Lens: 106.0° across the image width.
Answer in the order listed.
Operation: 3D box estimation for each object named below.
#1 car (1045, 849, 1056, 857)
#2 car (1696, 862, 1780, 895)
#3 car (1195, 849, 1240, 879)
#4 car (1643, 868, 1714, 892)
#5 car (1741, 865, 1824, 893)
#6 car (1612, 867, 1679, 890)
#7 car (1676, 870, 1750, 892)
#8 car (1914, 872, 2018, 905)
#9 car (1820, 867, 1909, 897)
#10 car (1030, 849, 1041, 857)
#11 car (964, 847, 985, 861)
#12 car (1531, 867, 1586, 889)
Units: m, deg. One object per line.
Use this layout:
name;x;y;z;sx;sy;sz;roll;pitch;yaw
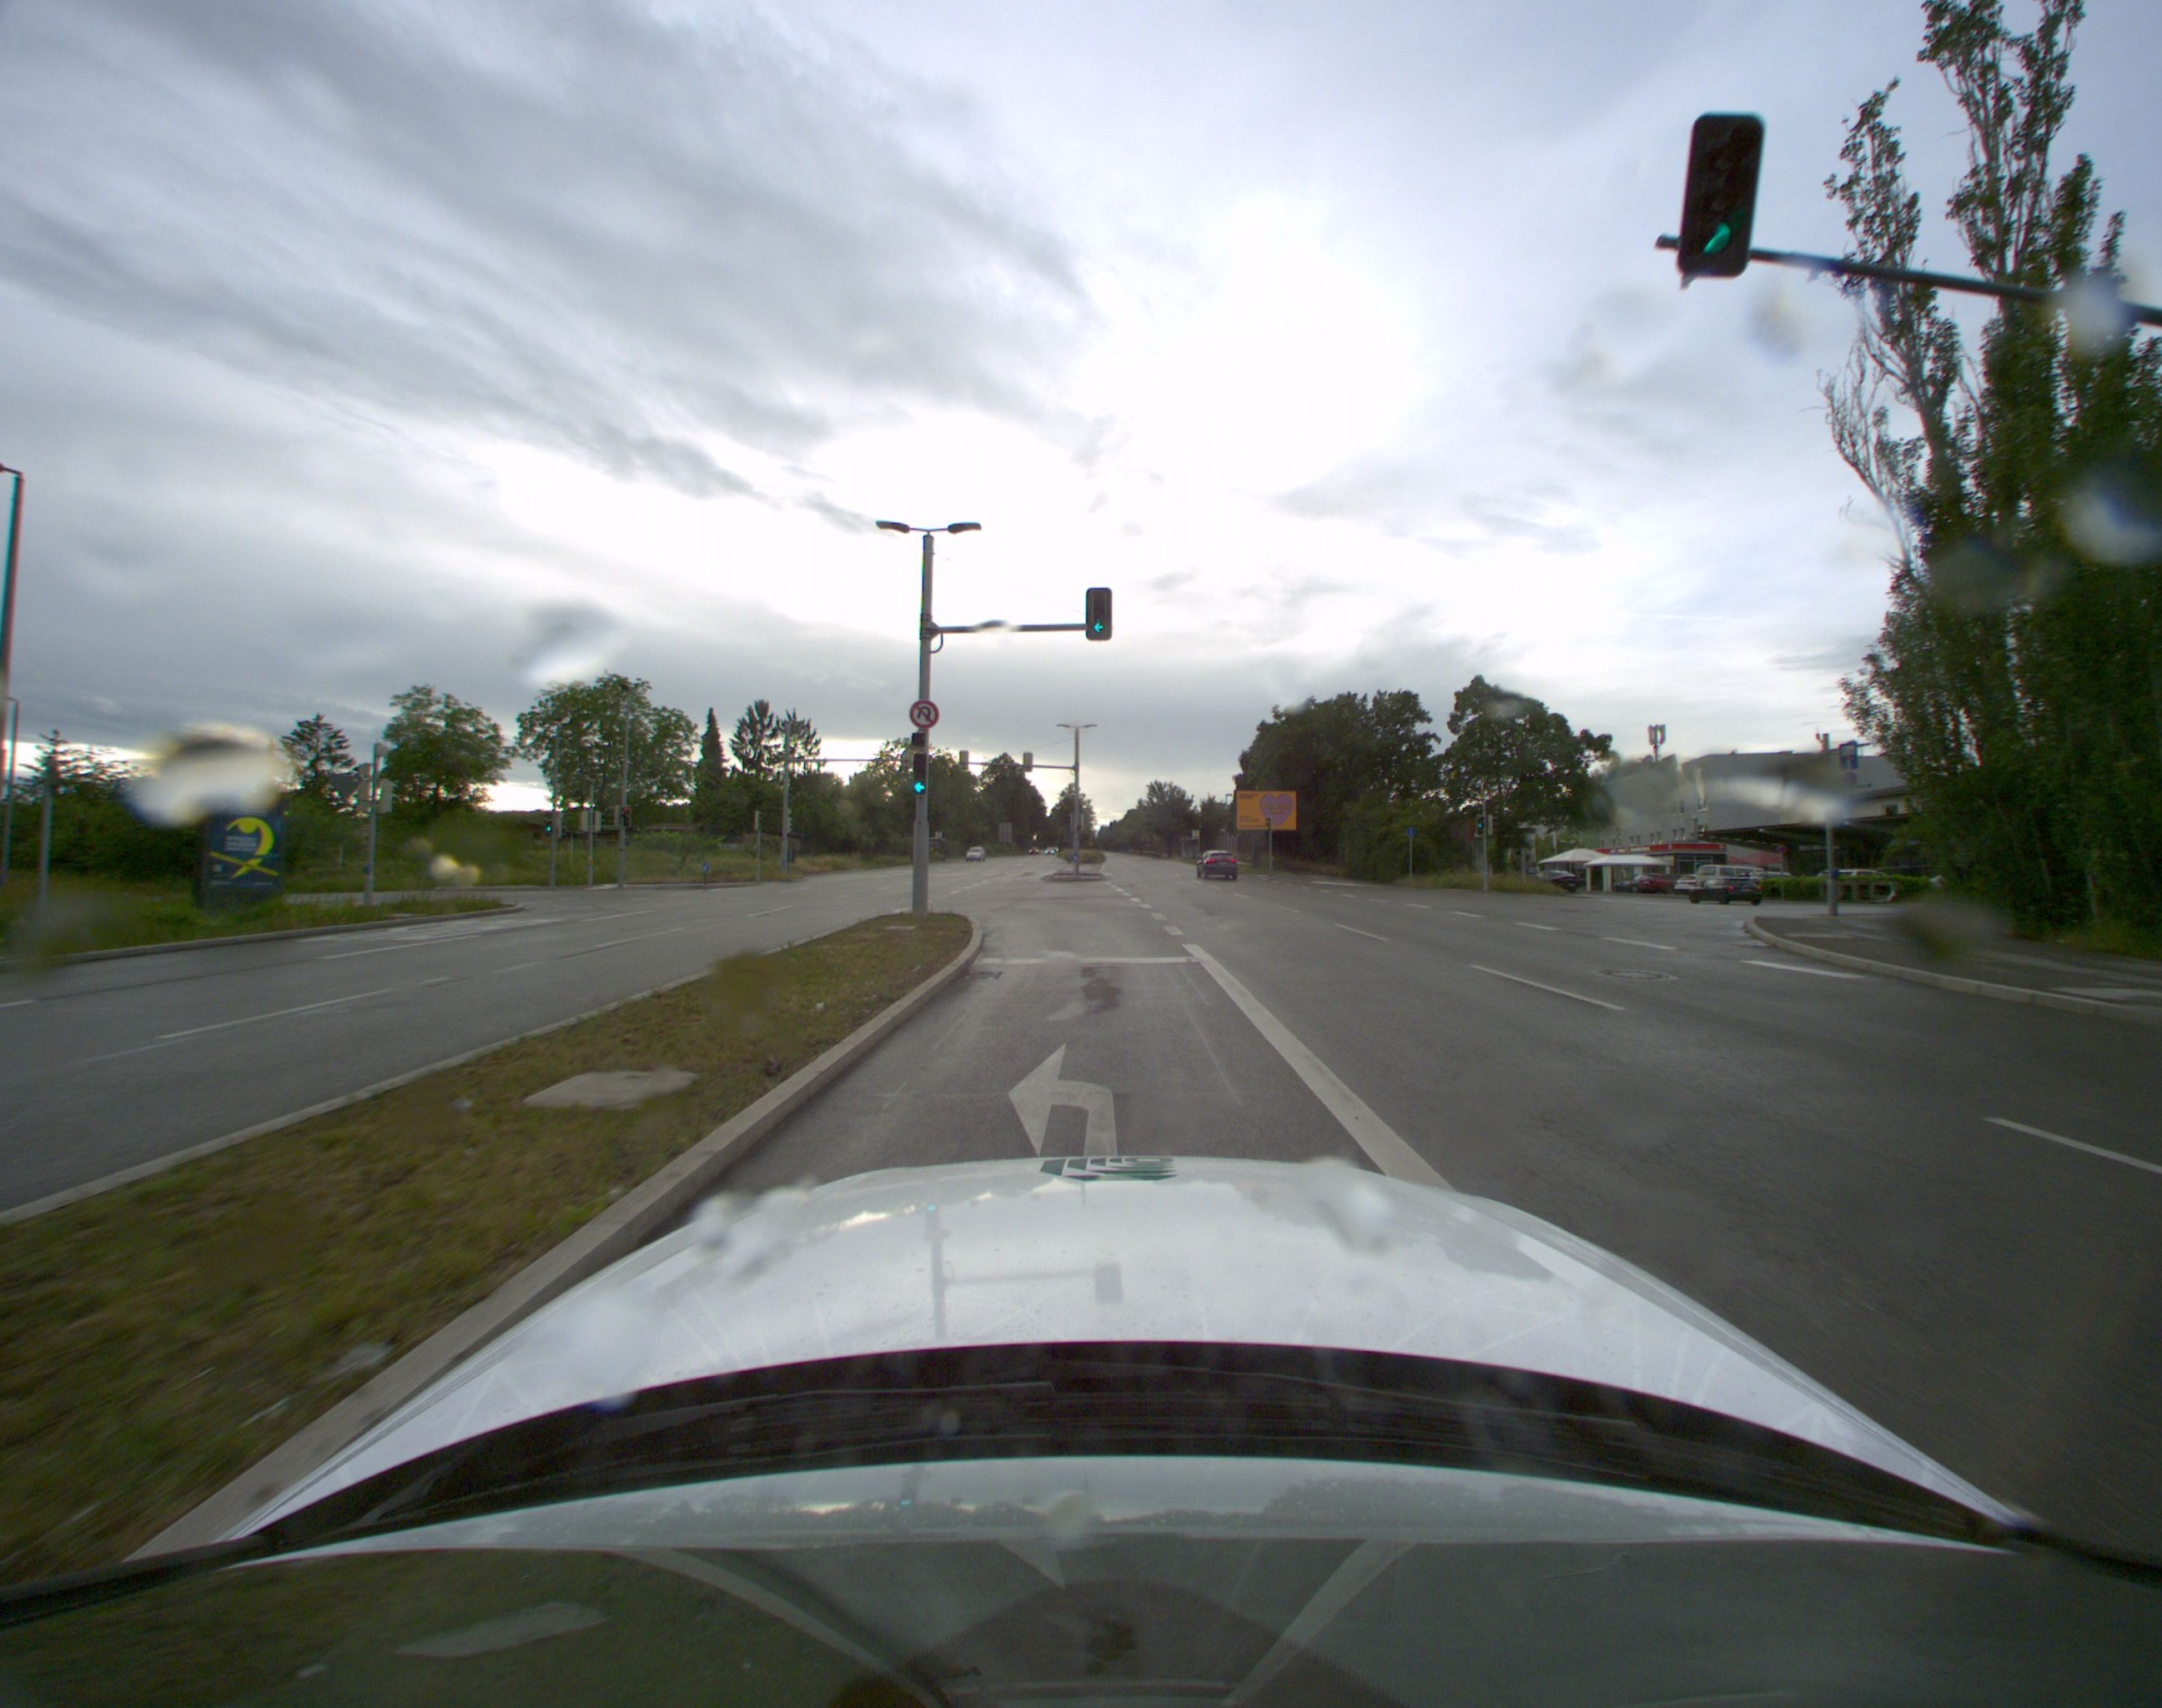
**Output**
car;-5.857;-0.203;156.196;1.887;1.534;4.489;1;0;0
car;40.750;1.495;50.557;3.862;1.946;1.853;1;0;-6
car;7.204;0.491;43.281;1.739;1.470;4.166;1;0;1
car;40.777;1.757;55.607;3.862;1.564;1.514;1;0;-6
car;41.628;1.473;48.350;3.862;1.564;1.514;1;0;-6
car;40.233;1.738;58.068;3.862;1.564;1.514;1;0;-6
car;41.259;1.760;53.161;3.862;1.398;1.514;1;0;-6
car;44.071;1.707;40.586;3.862;1.564;1.514;1;0;-6
car;44.245;1.575;46.017;3.862;1.564;1.514;1;0;-6
car;-9.640;-0.273;171.982;1.887;1.596;4.489;1;0;0
car;-12.234;-0.039;93.855;1.763;1.596;4.489;1;0;0
car;35.911;1.810;61.312;1.771;1.586;4.142;2;-2;1
